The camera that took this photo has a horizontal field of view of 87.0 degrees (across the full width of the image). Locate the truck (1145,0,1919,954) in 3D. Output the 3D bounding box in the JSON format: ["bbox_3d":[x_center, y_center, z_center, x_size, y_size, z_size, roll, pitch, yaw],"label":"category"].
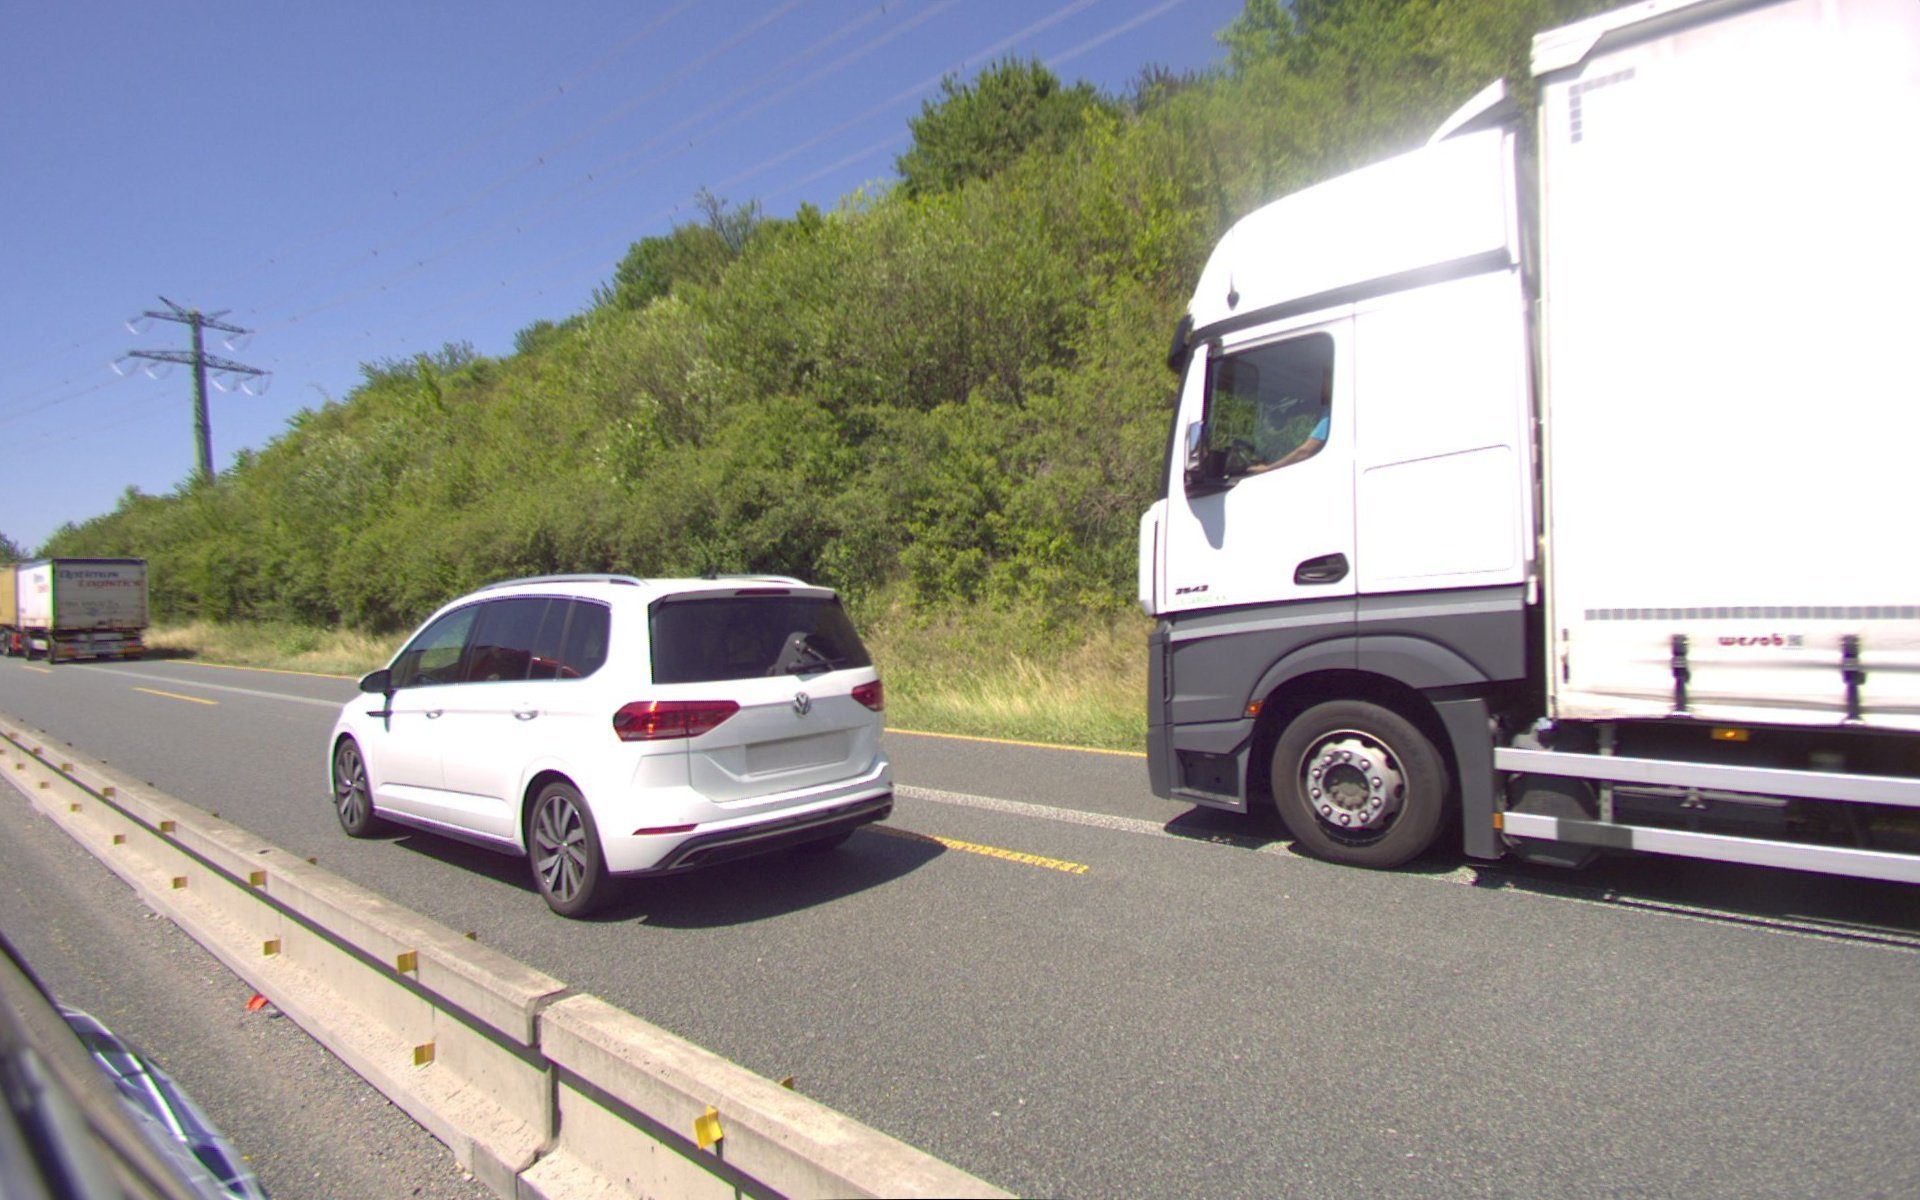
[{"bbox_3d":[5.828,-0.743,3.467,10.345,4.022,2.385,-2,0,41],"label":"truck"}]

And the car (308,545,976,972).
[{"bbox_3d":[-2.082,0.625,5.941,4.148,1.643,1.806,-1,0,40],"label":"car"}]

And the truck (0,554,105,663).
[{"bbox_3d":[-37.787,0.364,41.524,9.646,4.022,2.622,-2,1,41],"label":"truck"}]

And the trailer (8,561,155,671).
[{"bbox_3d":[-30.830,0.556,35.347,8.915,3.361,2.623,-2,1,41],"label":"trailer"}]
